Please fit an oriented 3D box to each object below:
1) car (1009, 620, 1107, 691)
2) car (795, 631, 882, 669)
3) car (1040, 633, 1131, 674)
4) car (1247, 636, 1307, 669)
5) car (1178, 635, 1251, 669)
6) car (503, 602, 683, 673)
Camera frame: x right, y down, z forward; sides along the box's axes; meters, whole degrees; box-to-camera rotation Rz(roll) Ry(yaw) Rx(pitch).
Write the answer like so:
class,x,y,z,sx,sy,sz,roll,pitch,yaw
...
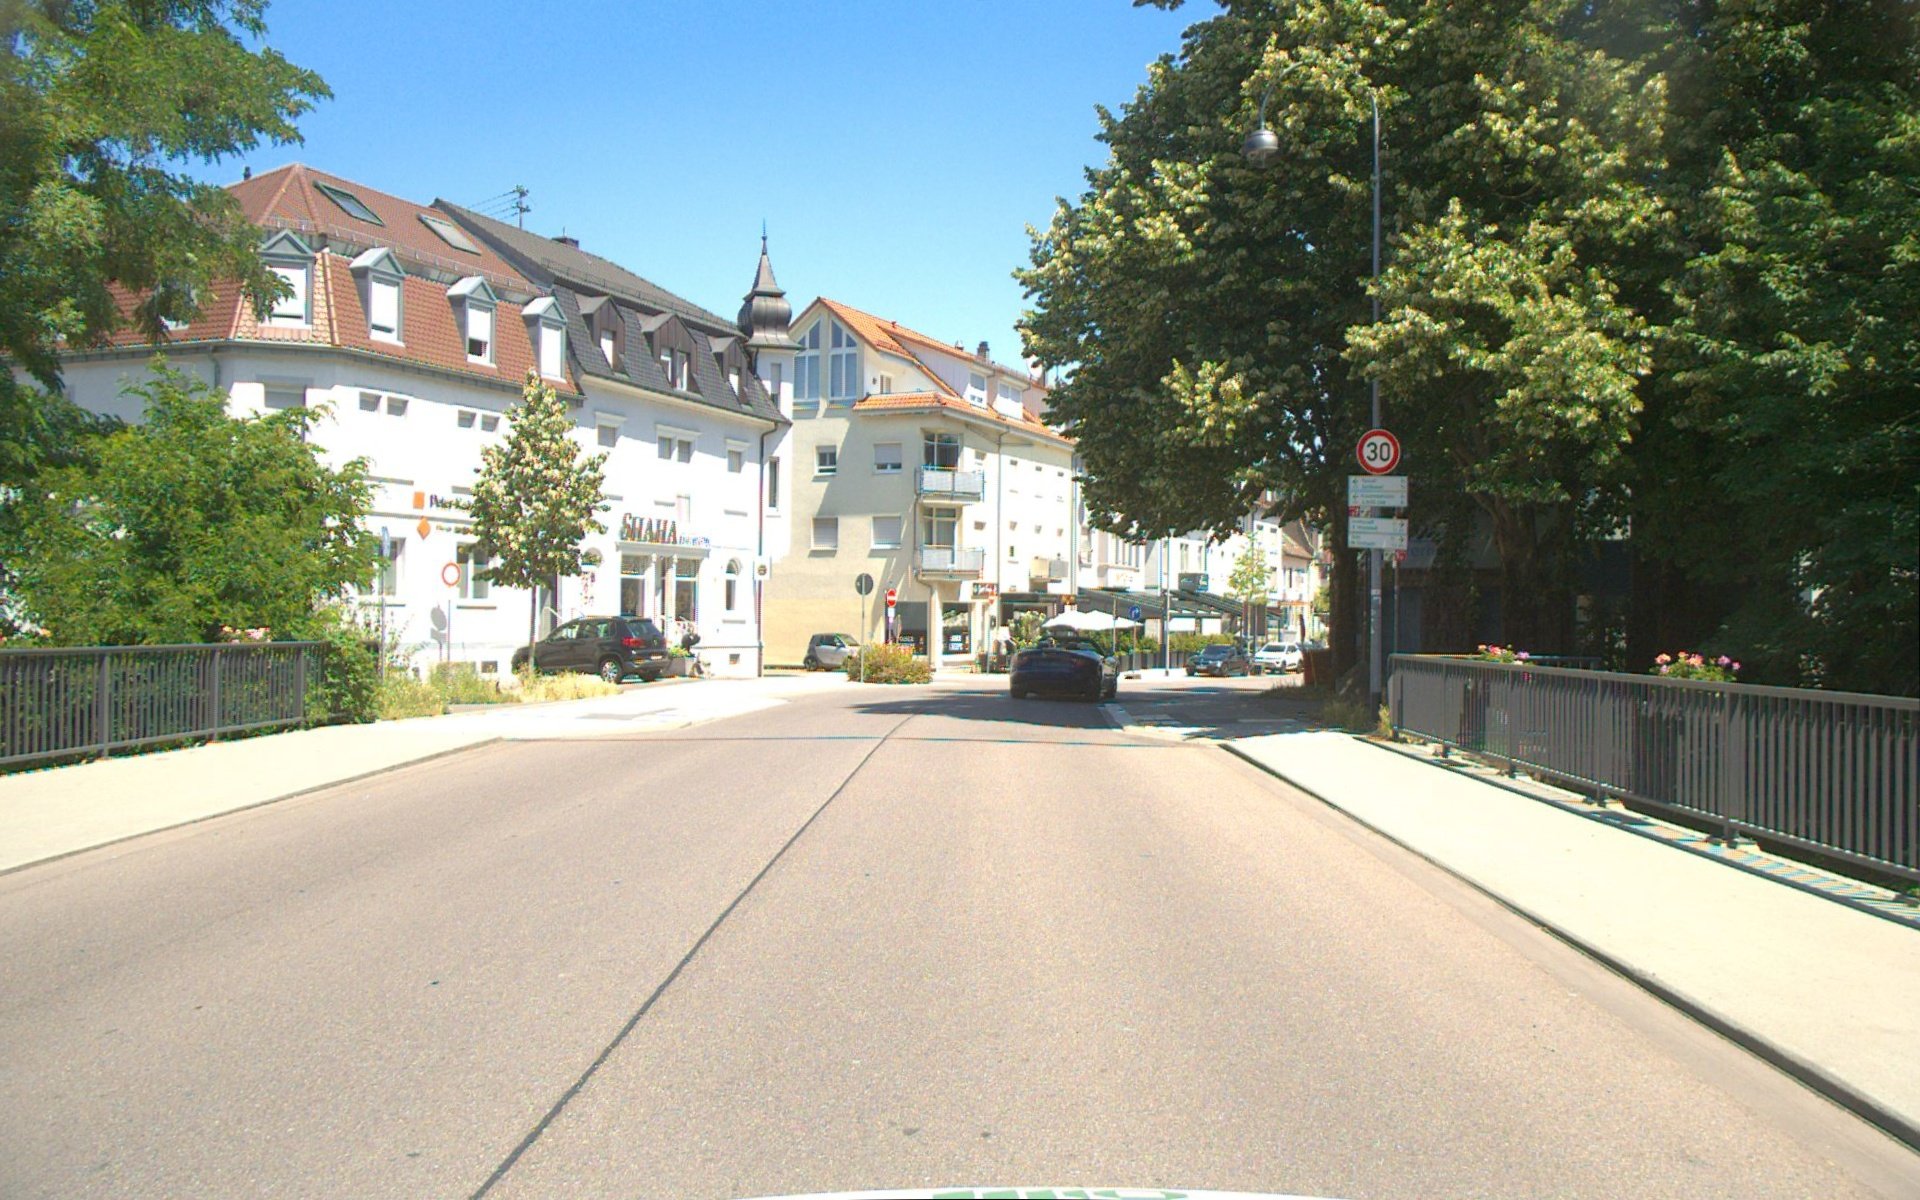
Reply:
class,x,y,z,sx,sy,sz,roll,pitch,yaw
car,2.047,1.155,35.605,1.832,1.366,4.596,2,-1,0
car,-4.997,2.052,68.075,3.196,1.484,1.691,0,-1,22
car,5.093,2.184,66.648,1.684,1.486,4.113,2,-1,36
car,15.723,2.591,81.950,1.615,1.505,3.931,2,0,31
car,11.644,2.351,75.449,1.799,1.454,4.775,1,0,28
car,-9.350,0.925,42.192,4.095,1.691,1.970,1,0,22
